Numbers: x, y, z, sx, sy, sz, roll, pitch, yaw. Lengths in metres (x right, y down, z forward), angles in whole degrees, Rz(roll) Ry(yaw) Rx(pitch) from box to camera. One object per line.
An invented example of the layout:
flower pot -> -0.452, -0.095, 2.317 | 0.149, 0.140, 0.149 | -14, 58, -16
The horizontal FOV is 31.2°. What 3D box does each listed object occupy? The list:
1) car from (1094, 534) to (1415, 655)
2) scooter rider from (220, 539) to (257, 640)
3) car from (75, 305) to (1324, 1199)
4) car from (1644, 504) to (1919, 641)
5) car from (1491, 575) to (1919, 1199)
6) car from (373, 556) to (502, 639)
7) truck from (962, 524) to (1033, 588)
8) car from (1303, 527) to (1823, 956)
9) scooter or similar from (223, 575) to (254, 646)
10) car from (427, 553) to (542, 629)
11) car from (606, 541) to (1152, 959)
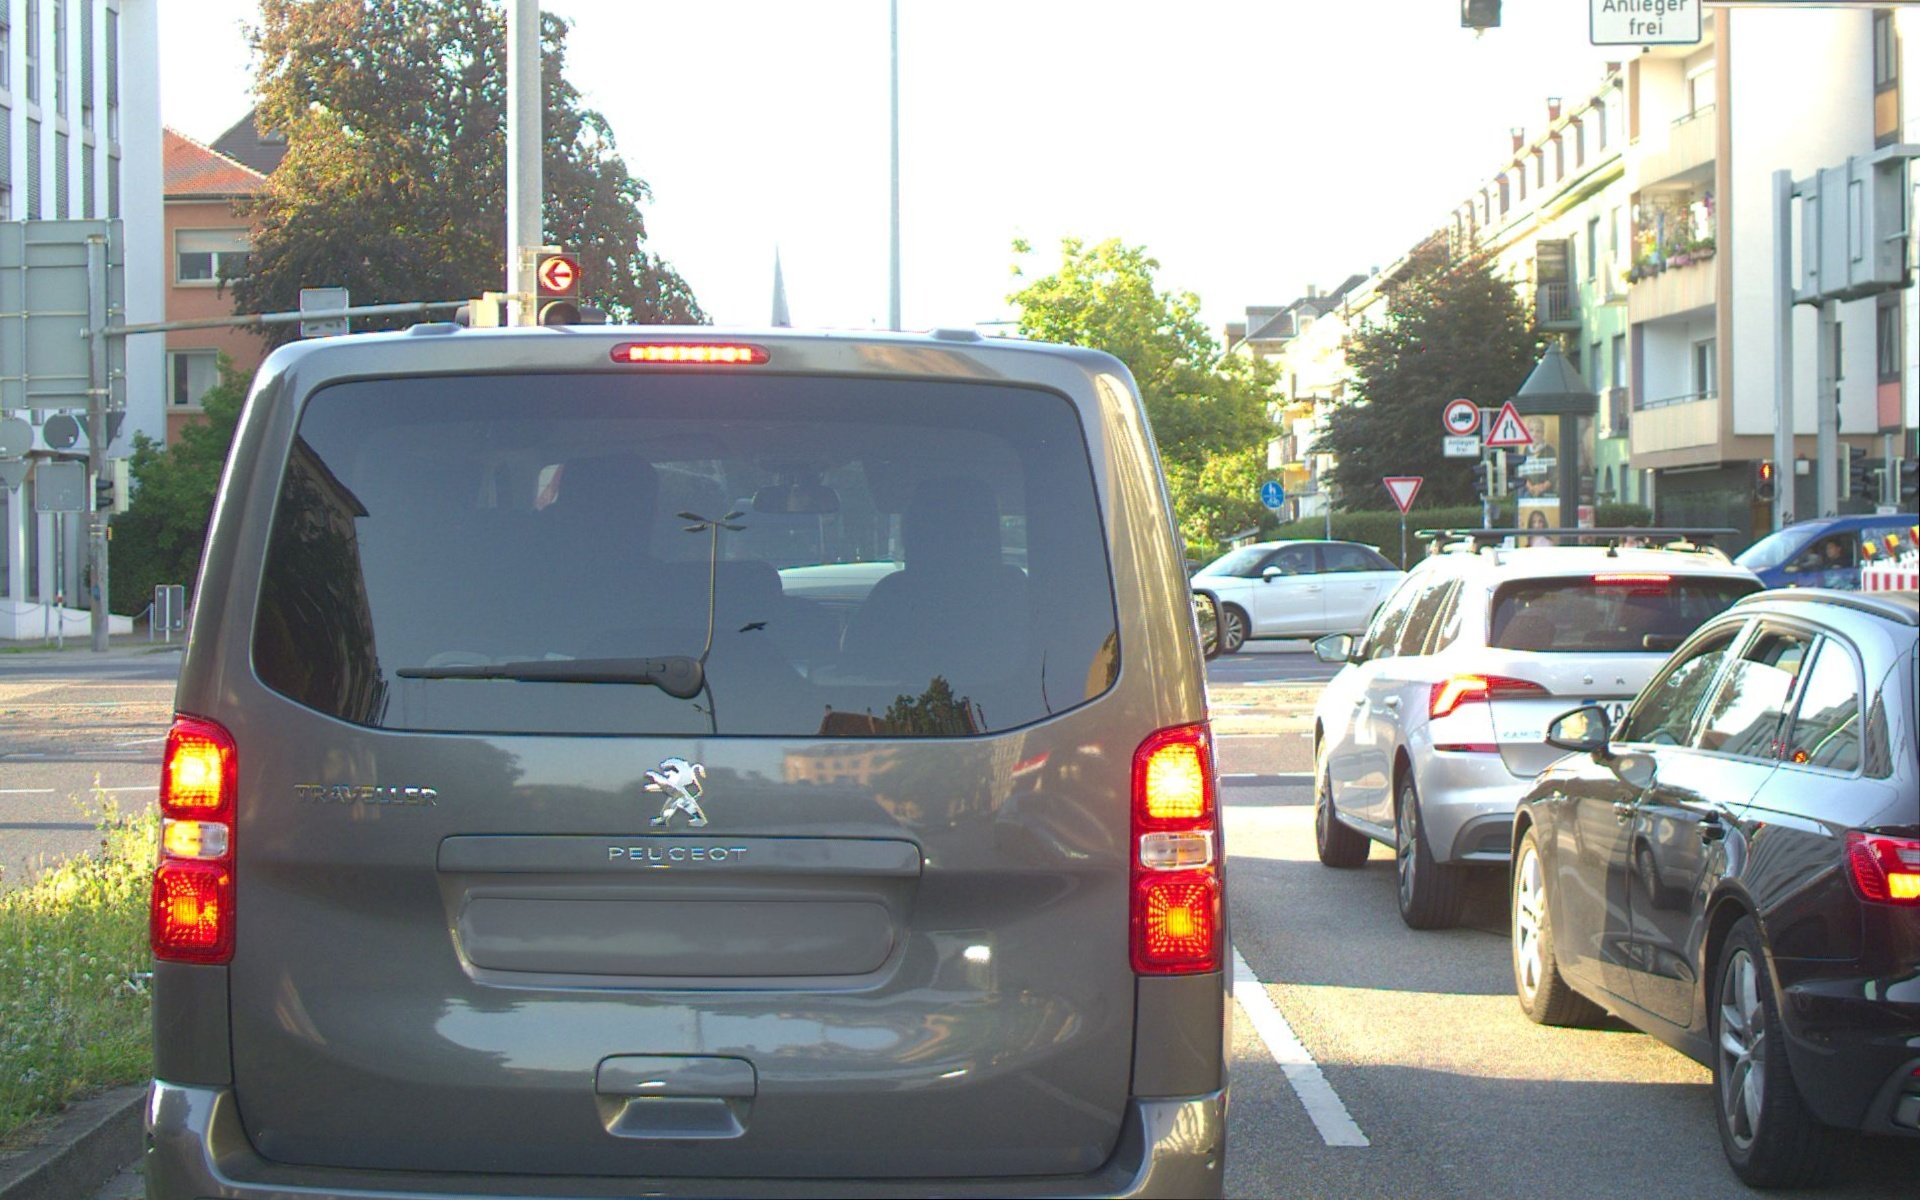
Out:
car -> 3.742, -0.085, 43.725 | 3.673, 1.383, 1.697 | -2, 1, -25
scooter rider -> -12.258, -0.184, 58.409 | 0.481, 1.691, 0.636 | 0, 1, -1
car -> -0.434, 0.452, 7.579 | 1.907, 1.857, 4.527 | 1, 1, -1
car -> 11.805, -0.402, 47.348 | 4.214, 1.811, 2.001 | -1, 1, -15
car -> 2.625, 0.675, 9.212 | 1.681, 1.416, 4.214 | 1, 1, -1
car -> -9.456, -0.075, 62.504 | 1.856, 1.415, 4.001 | -1, 1, -2
truck -> 1.290, -1.505, 116.449 | 2.128, 2.079, 4.631 | -1, 1, 4
car -> 2.479, 0.506, 14.939 | 1.528, 1.608, 3.745 | 1, 1, -1
scooter or similar -> -12.263, 0.168, 58.438 | 0.285, 1.184, 1.169 | 0, 1, -1
car -> -9.379, -0.202, 68.030 | 1.856, 1.415, 4.001 | -1, 1, -2
car -> -0.321, 0.517, 14.641 | 1.993, 1.525, 4.000 | 0, 1, -1
